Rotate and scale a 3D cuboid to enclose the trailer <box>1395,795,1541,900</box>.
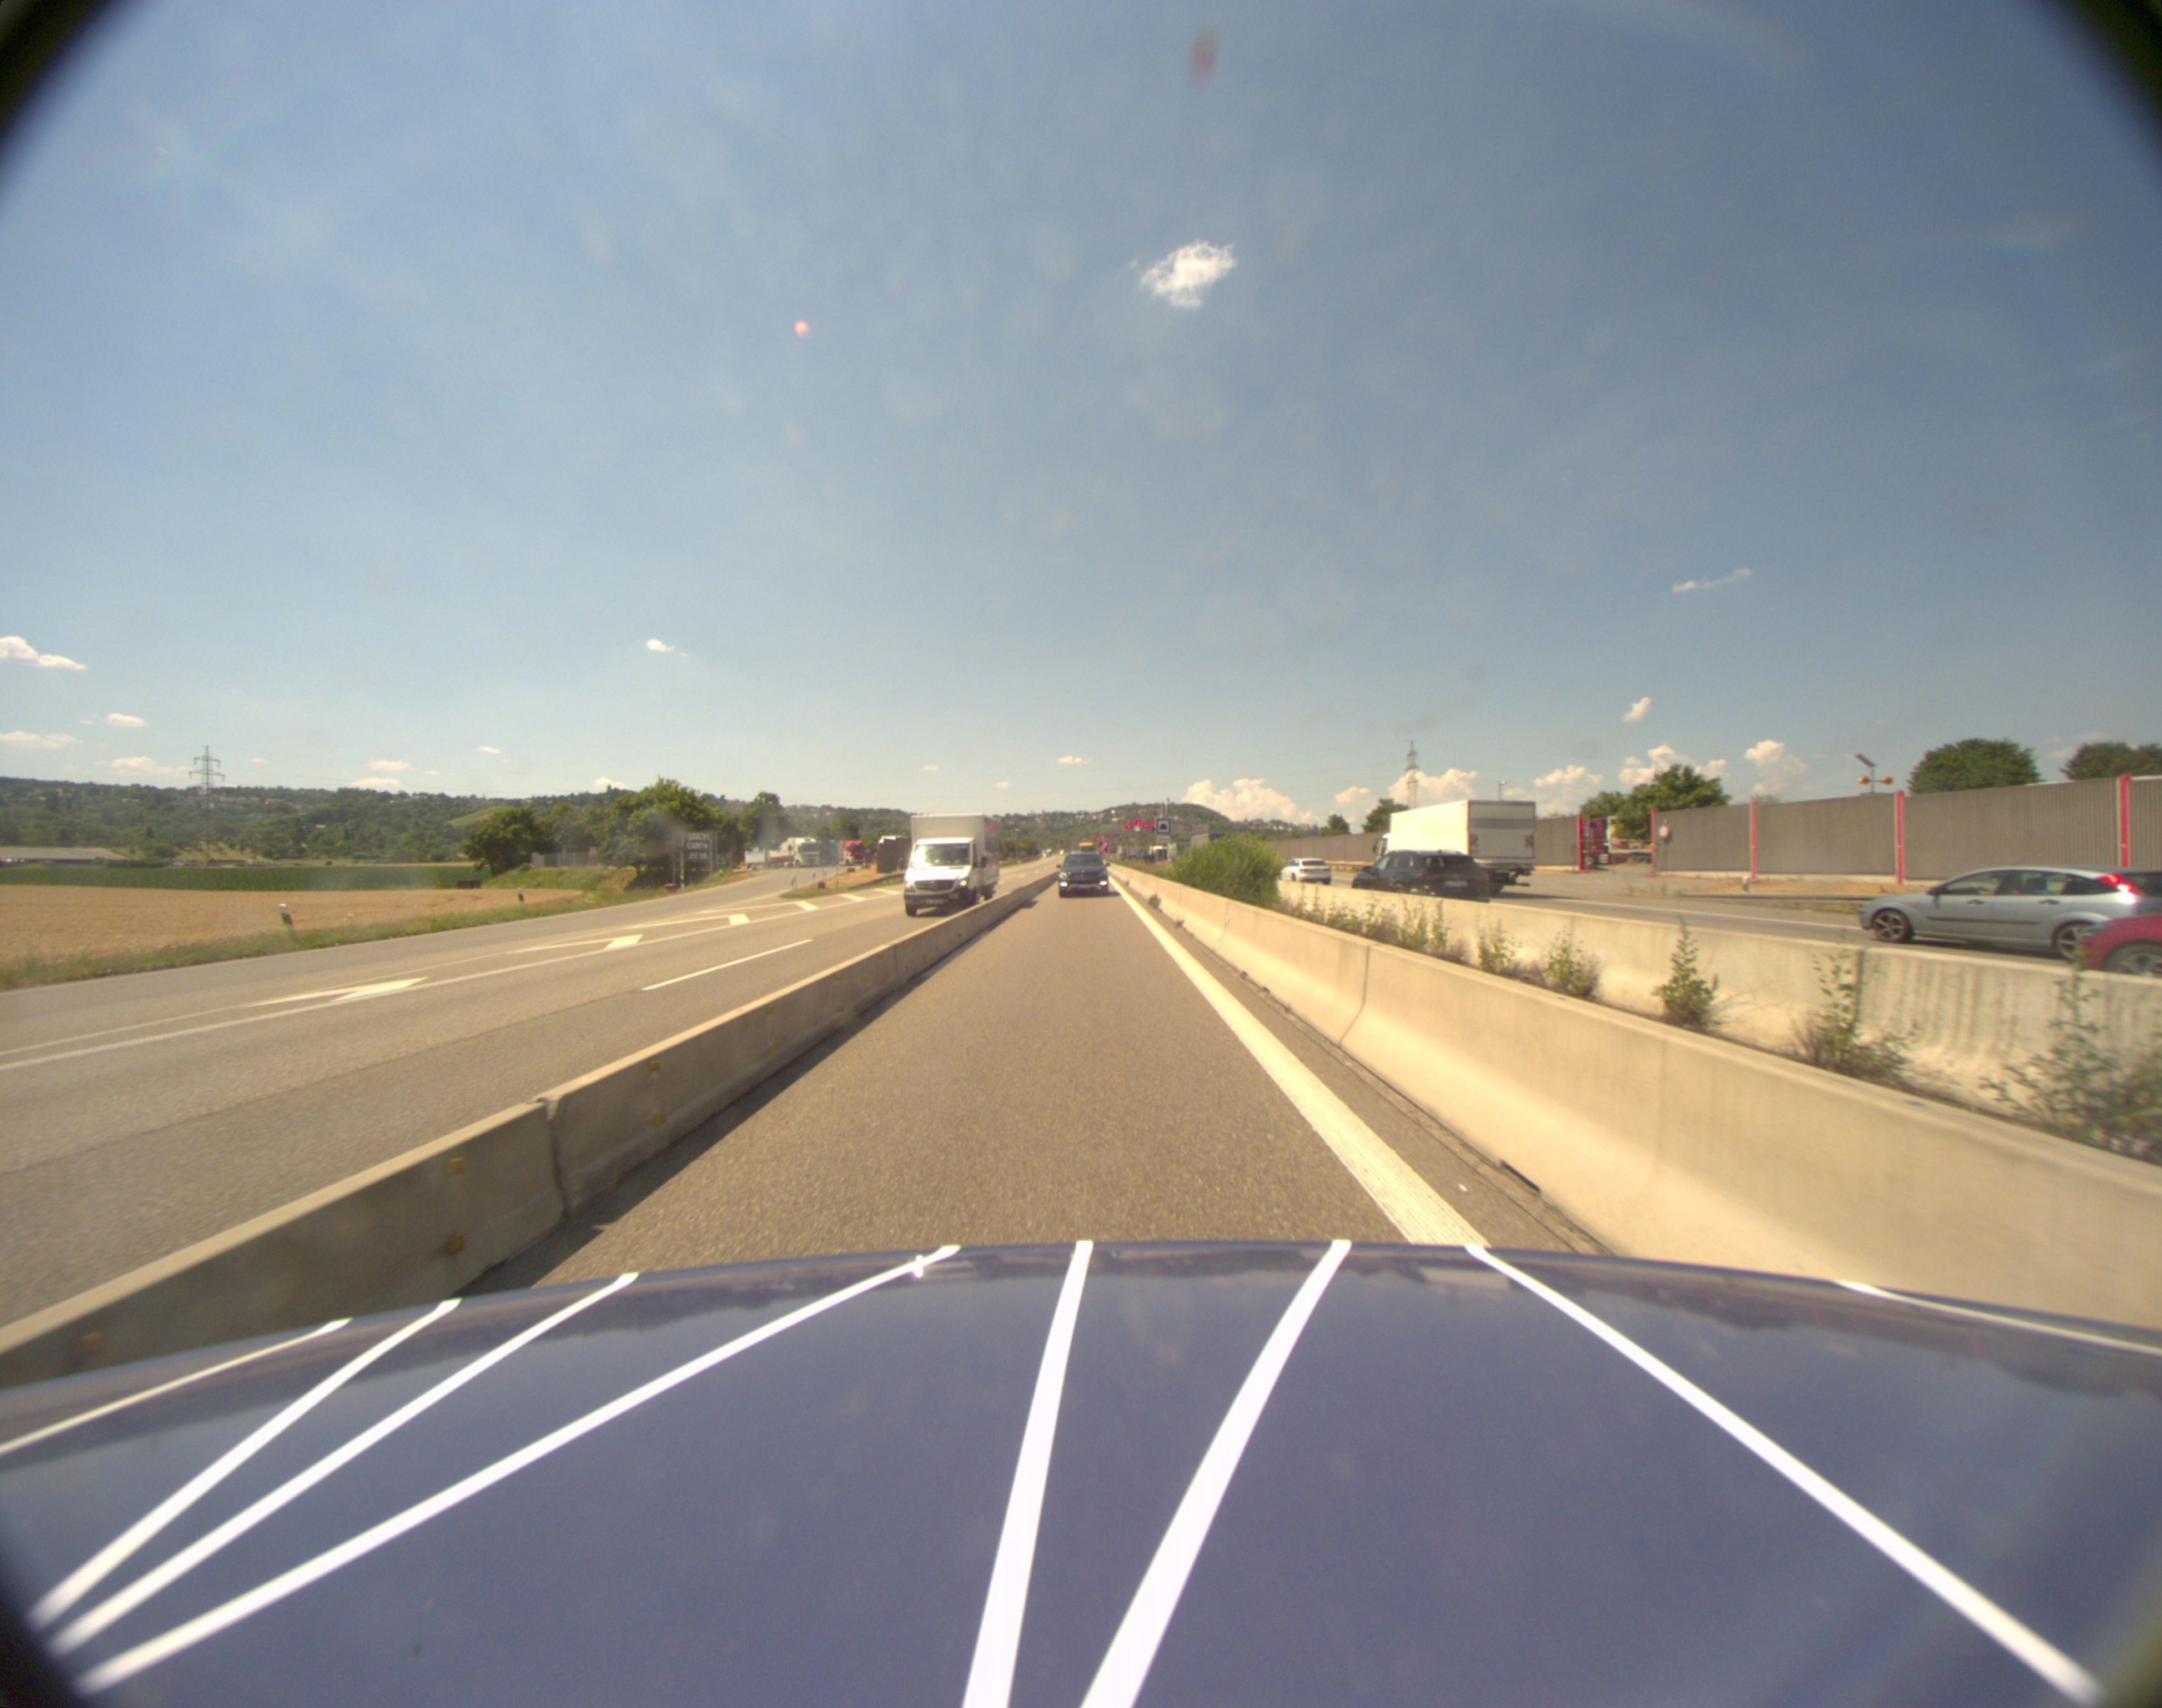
[{"bbox_3d":[15.592,-0.268,31.230,2.654,3.851,6.616,0,0,1],"label":"trailer"}]

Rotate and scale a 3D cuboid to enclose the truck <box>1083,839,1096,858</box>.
[{"bbox_3d":[1.541,-1.026,135.506,2.272,3.139,8.186,-2,1,1],"label":"truck"}]

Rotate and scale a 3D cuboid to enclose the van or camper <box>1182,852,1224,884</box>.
[{"bbox_3d":[8.329,0.904,52.273,1.998,2.002,5.444,-1,0,1],"label":"van or camper"}]

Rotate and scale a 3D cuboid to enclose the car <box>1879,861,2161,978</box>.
[{"bbox_3d":[15.287,0.909,11.750,1.659,1.510,4.000,1,0,1],"label":"car"}]

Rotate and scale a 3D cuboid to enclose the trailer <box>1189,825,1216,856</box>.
[{"bbox_3d":[16.465,-1.858,103.113,2.967,4.043,4.456,-1,1,1],"label":"trailer"}]

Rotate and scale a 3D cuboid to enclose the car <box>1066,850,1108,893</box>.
[{"bbox_3d":[0.287,0.734,32.757,1.630,1.711,3.865,-2,-1,1],"label":"car"}]

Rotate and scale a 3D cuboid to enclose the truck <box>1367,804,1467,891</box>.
[{"bbox_3d":[15.649,-0.291,35.765,2.647,3.851,4.725,0,1,1],"label":"truck"}]

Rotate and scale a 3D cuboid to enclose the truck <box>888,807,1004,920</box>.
[{"bbox_3d":[-4.082,0.307,24.444,2.326,3.049,6.752,-2,-1,1],"label":"truck"}]

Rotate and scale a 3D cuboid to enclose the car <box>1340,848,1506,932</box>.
[{"bbox_3d":[8.086,0.788,18.543,1.998,1.749,4.644,-1,0,1],"label":"car"}]

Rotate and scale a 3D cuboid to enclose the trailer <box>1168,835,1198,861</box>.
[{"bbox_3d":[17.271,-1.001,130.137,3.264,4.033,14.389,-2,1,1],"label":"trailer"}]

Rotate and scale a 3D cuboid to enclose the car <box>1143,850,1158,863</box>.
[{"bbox_3d":[9.153,0.311,99.881,1.654,1.694,3.741,-1,0,1],"label":"car"}]

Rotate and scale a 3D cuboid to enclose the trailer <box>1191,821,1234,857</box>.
[{"bbox_3d":[16.384,-1.787,95.978,2.991,4.042,15.162,-1,0,1],"label":"trailer"}]

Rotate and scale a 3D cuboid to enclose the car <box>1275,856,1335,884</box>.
[{"bbox_3d":[12.049,0.827,41.267,1.795,1.422,5.104,0,0,1],"label":"car"}]

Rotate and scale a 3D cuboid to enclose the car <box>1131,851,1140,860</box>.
[{"bbox_3d":[9.564,0.209,133.490,1.515,1.530,3.183,-1,0,1],"label":"car"}]

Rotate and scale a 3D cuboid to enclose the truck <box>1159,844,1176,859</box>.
[{"bbox_3d":[17.225,-0.444,151.785,2.405,2.856,9.090,-1,0,1],"label":"truck"}]

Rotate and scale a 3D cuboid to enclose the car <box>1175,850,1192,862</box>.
[{"bbox_3d":[12.949,0.242,96.237,1.654,1.331,3.741,-1,0,1],"label":"car"}]
